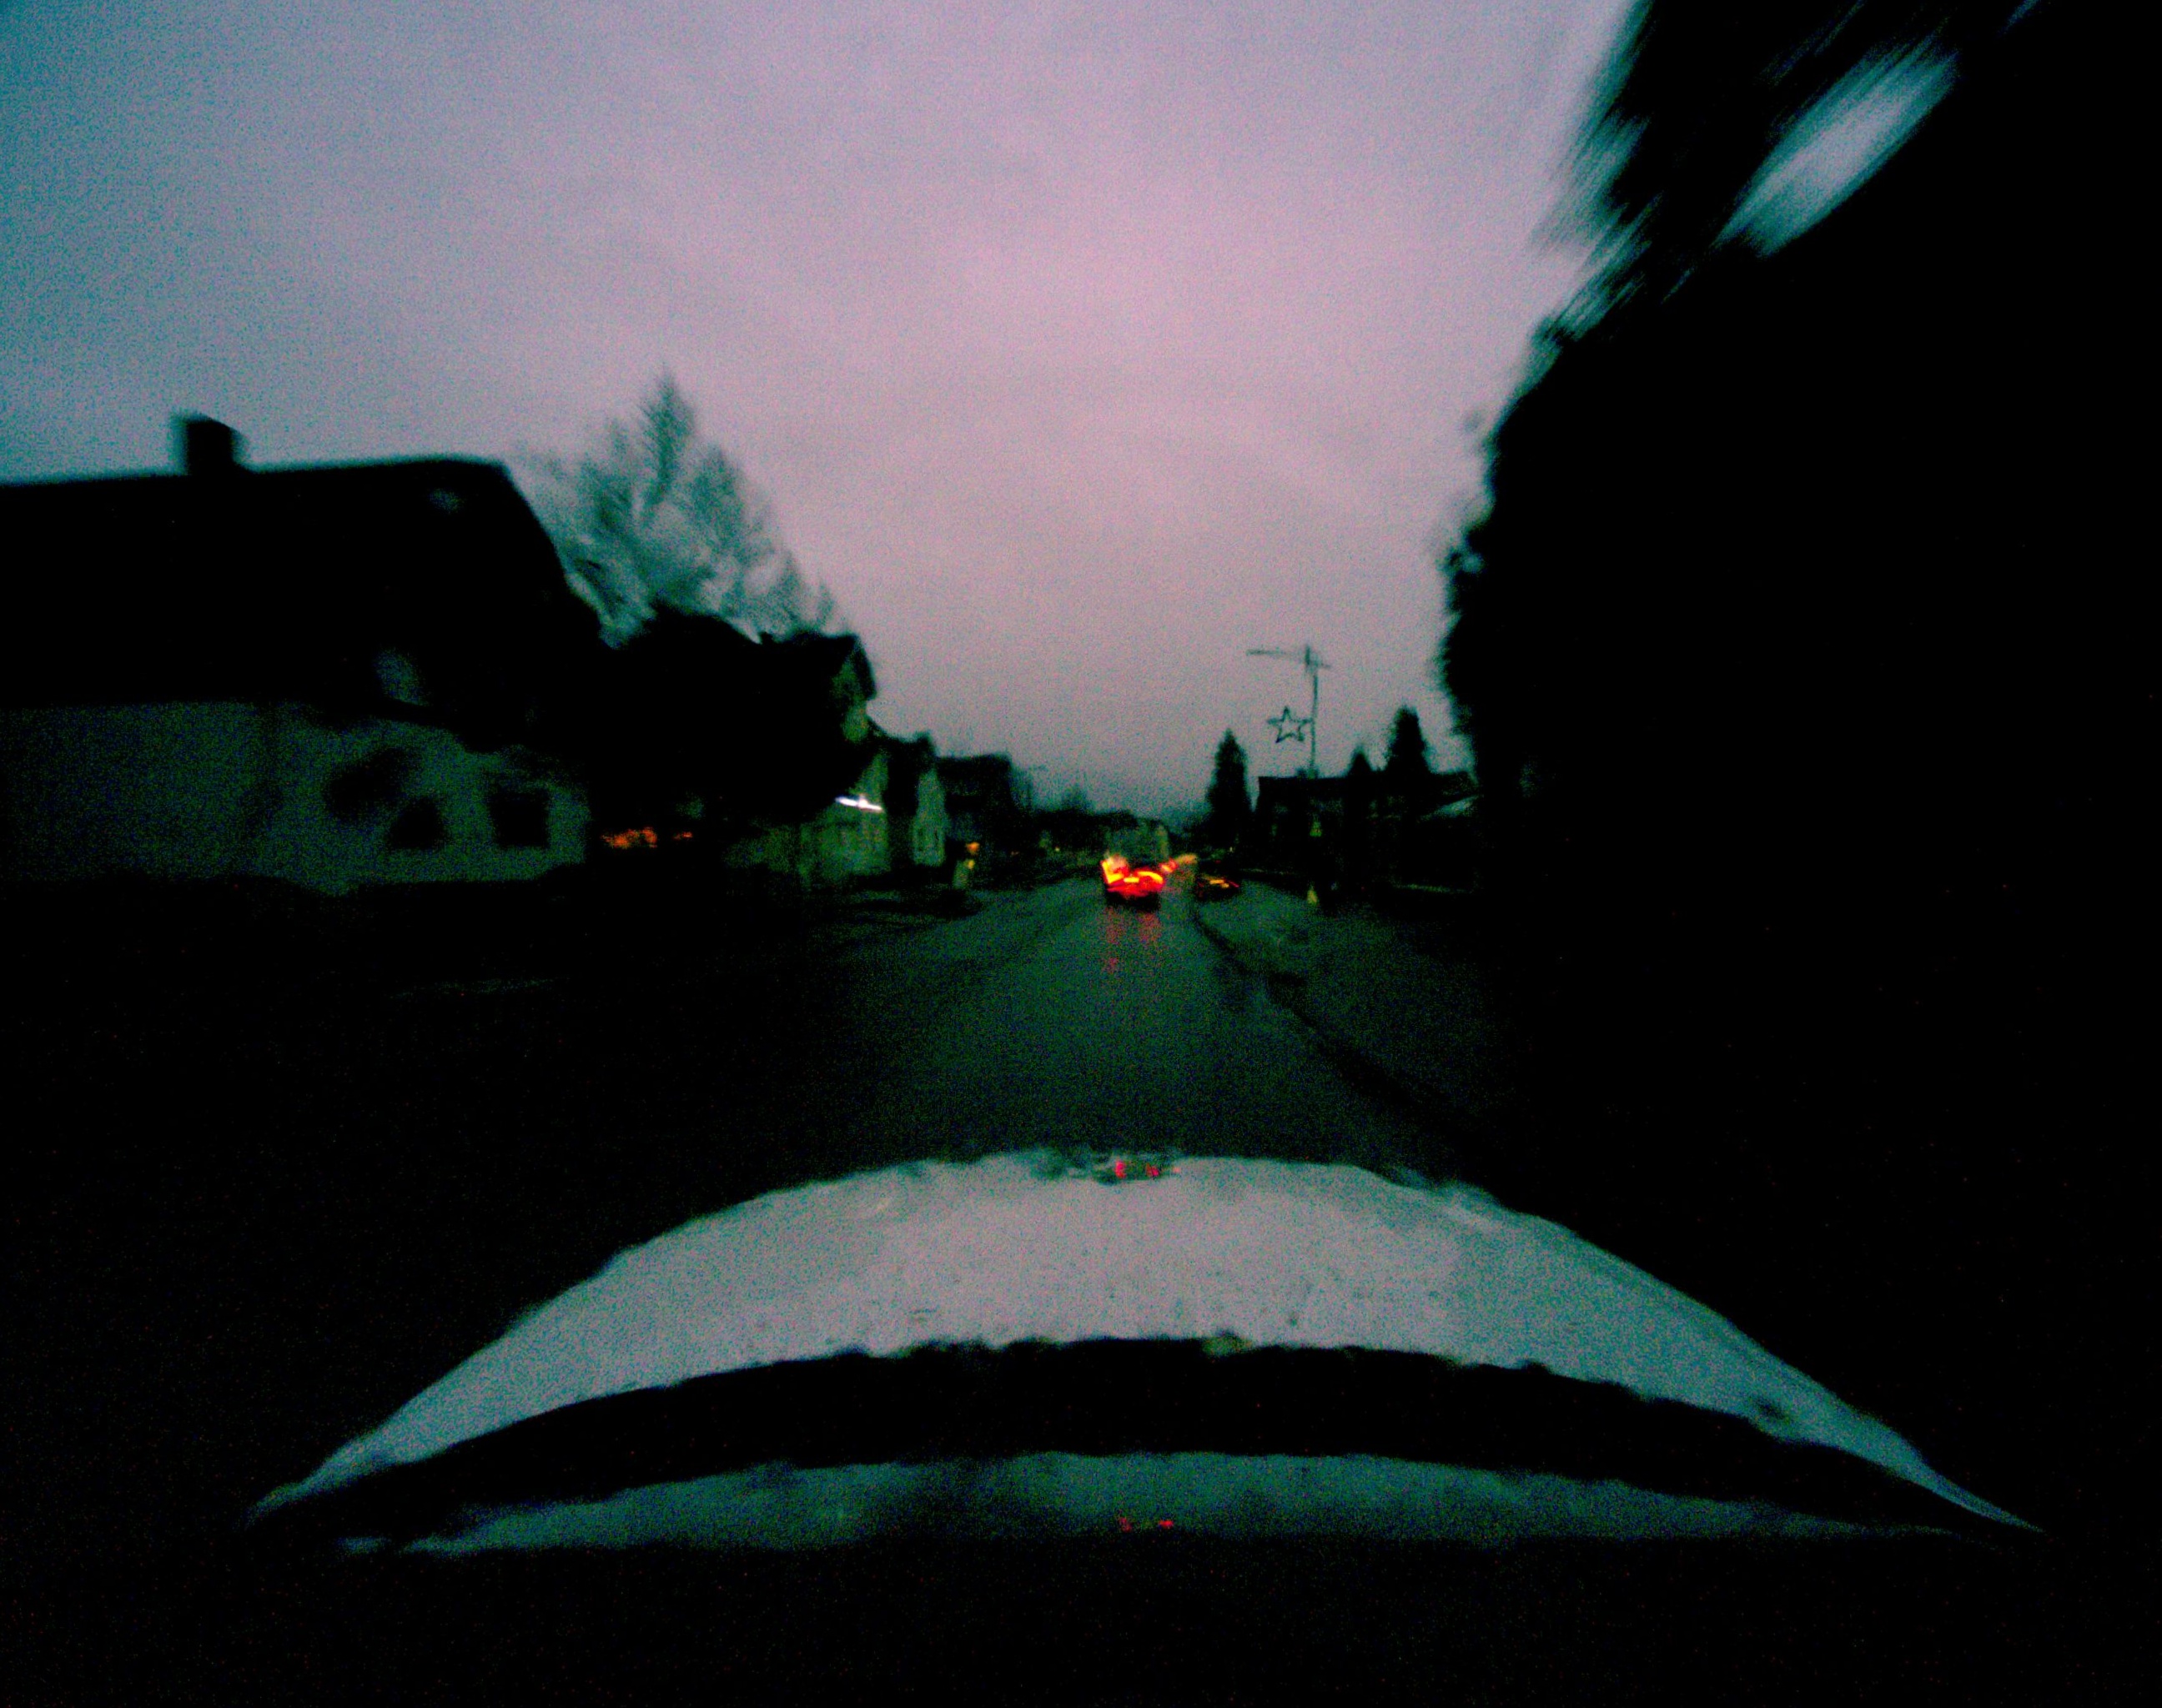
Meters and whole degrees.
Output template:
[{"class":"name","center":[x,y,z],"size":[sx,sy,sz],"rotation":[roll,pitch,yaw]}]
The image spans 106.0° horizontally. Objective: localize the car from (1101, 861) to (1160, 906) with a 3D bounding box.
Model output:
[{"class":"car","center":[1.797,1.040,29.788],"size":[1.985,1.525,4.003],"rotation":[0,-1,3]}]

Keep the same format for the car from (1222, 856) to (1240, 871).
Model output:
[{"class":"car","center":[19.764,1.277,107.151],"size":[1.731,1.785,4.356],"rotation":[-3,-1,18]}]

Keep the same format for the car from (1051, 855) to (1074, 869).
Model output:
[{"class":"car","center":[-2.859,1.233,126.360],"size":[1.975,2.013,4.023],"rotation":[1,0,25]}]

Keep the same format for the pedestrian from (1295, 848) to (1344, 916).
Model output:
[{"class":"pedestrian","center":[6.333,0.737,21.676],"size":[0.982,1.742,1.058],"rotation":[-3,-1,6]}]

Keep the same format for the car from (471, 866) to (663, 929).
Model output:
[{"class":"car","center":[-12.294,0.988,19.820],"size":[1.772,1.366,4.008],"rotation":[0,-1,7]}]

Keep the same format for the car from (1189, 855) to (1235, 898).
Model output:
[{"class":"car","center":[5.347,0.902,33.554],"size":[1.640,1.540,3.397],"rotation":[-5,-1,7]}]

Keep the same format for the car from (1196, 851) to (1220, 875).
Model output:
[{"class":"car","center":[11.461,0.772,73.332],"size":[1.965,2.013,5.760],"rotation":[-3,-1,10]}]

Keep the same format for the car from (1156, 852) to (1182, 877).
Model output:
[{"class":"car","center":[7.291,0.860,67.642],"size":[1.984,2.014,4.004],"rotation":[0,-1,4]}]
